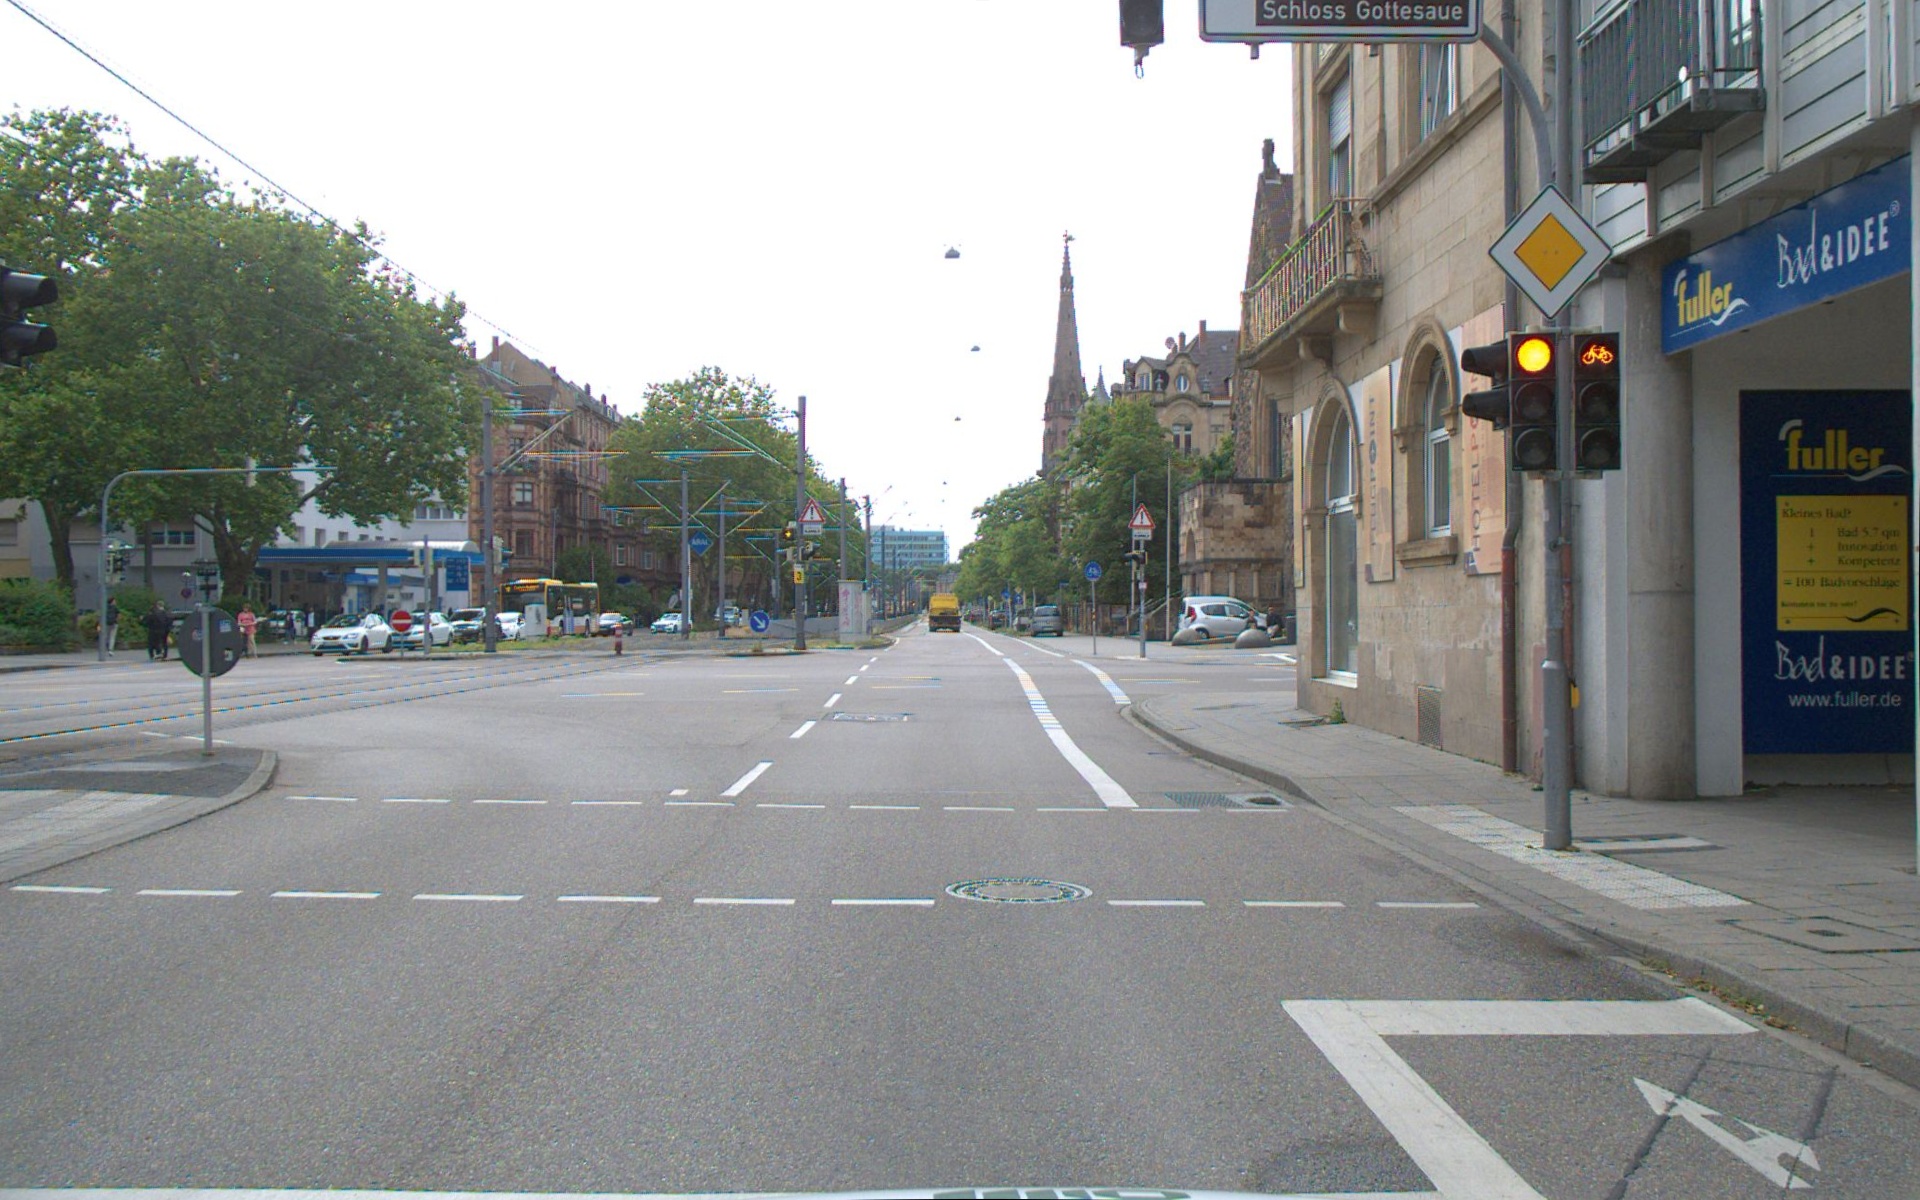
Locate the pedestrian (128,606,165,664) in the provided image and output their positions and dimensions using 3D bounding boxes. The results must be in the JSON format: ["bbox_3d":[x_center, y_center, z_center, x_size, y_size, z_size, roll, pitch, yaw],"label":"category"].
[{"bbox_3d":[-25.132,1.073,51.094,0.850,1.743,0.690,0,-1,28],"label":"pedestrian"}]

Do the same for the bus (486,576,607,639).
[{"bbox_3d":[-21.964,0.420,88.750,3.164,3.088,12.312,1,0,1],"label":"bus"}]

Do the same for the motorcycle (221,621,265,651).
[{"bbox_3d":[-23.688,1.170,54.668,0.594,0.945,1.951,0,0,0],"label":"motorcycle"}]

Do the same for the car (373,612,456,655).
[{"bbox_3d":[-21.421,1.289,65.124,1.953,1.622,3.999,1,0,-1],"label":"car"}]

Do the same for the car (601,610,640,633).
[{"bbox_3d":[-20.989,1.308,102.399,1.622,1.344,3.638,1,0,1],"label":"car"}]

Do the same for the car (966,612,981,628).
[{"bbox_3d":[1.771,2.665,216.819,1.953,2.049,3.999,1,0,-1],"label":"car"}]

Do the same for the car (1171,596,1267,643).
[{"bbox_3d":[10.693,0.798,68.552,3.638,1.888,2.000,1,0,-1],"label":"car"}]

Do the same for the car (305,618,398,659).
[{"bbox_3d":[-21.488,1.332,58.608,1.711,1.344,4.075,1,0,1],"label":"car"}]

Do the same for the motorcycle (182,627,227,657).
[{"bbox_3d":[-24.677,1.372,54.073,0.594,0.945,1.951,0,0,0],"label":"motorcycle"}]

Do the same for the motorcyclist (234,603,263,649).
[{"bbox_3d":[-23.657,0.859,55.003,0.607,1.546,0.873,0,0,-1],"label":"motorcyclist"}]

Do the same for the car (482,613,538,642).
[{"bbox_3d":[-21.377,1.286,78.696,1.622,1.344,3.638,1,0,1],"label":"car"}]

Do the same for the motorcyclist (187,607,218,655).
[{"bbox_3d":[-24.675,0.995,53.903,0.607,1.546,0.873,0,0,-1],"label":"motorcyclist"}]

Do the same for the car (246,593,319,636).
[{"bbox_3d":[-32.901,0.690,80.442,1.953,2.049,3.999,0,0,-1],"label":"car"}]

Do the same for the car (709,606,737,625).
[{"bbox_3d":[-21.335,1.384,148.987,1.953,1.639,3.999,1,0,-1],"label":"car"}]

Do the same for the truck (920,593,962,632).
[{"bbox_3d":[-1.377,0.894,124.282,2.993,2.817,9.814,0,0,0],"label":"truck"}]

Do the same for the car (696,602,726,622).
[{"bbox_3d":[-21.219,1.026,141.178,1.953,1.639,3.999,1,0,-1],"label":"car"}]

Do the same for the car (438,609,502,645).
[{"bbox_3d":[-21.221,1.141,71.777,1.622,1.504,3.638,1,0,1],"label":"car"}]

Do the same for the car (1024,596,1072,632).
[{"bbox_3d":[4.818,0.774,90.043,1.951,1.888,4.030,1,0,12],"label":"car"}]

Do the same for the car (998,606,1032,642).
[{"bbox_3d":[3.291,1.423,99.632,1.952,2.049,4.000,1,0,1],"label":"car"}]

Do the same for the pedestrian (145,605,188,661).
[{"bbox_3d":[-24.865,1.021,51.828,0.853,1.743,0.875,0,0,22],"label":"pedestrian"}]

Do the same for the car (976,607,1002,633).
[{"bbox_3d":[2.380,1.630,135.997,1.953,2.049,3.999,1,0,-1],"label":"car"}]

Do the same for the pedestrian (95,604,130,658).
[{"bbox_3d":[-27.472,0.997,53.623,0.669,1.720,0.742,1,-1,4],"label":"pedestrian"}]

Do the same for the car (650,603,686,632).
[{"bbox_3d":[-21.189,1.283,120.162,1.953,2.049,3.999,1,0,-1],"label":"car"}]

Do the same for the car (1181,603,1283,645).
[{"bbox_3d":[10.677,0.929,65.097,3.638,1.591,2.000,1,0,-1],"label":"car"}]
